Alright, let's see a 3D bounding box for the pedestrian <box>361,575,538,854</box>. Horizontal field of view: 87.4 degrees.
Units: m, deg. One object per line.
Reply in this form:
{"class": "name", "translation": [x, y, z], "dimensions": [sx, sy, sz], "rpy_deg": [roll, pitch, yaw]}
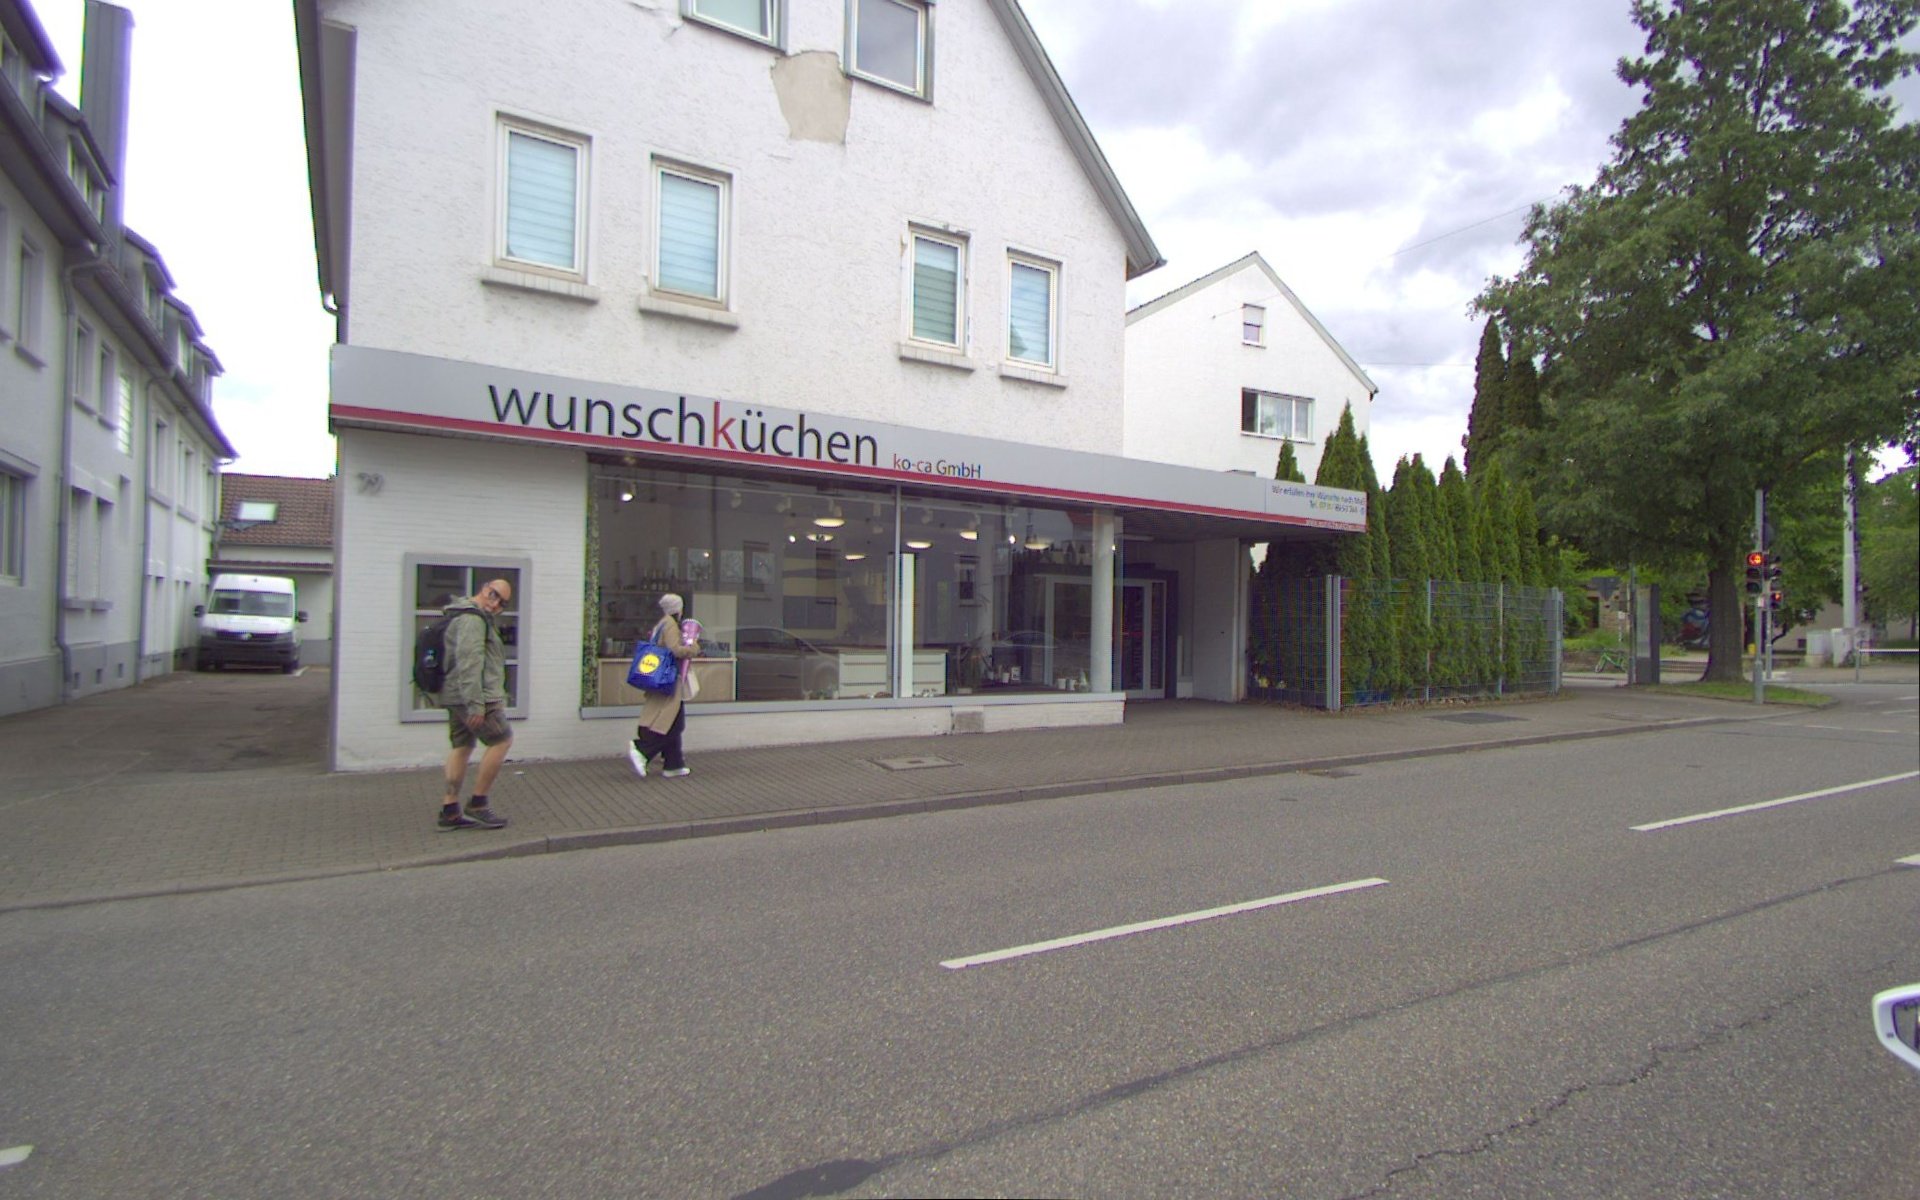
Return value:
{"class": "pedestrian", "translation": [-3.537, 0.735, 6.960], "dimensions": [1.008, 1.767, 0.747], "rpy_deg": [1, 1, -31]}

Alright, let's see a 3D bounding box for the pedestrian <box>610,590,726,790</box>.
{"class": "pedestrian", "translation": [-2.592, 0.755, 8.875], "dimensions": [0.784, 1.638, 0.747], "rpy_deg": [1, 2, -31]}

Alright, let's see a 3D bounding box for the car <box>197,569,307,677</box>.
{"class": "car", "translation": [-19.052, 0.584, 27.264], "dimensions": [1.938, 2.541, 5.943], "rpy_deg": [4, -2, -32]}
